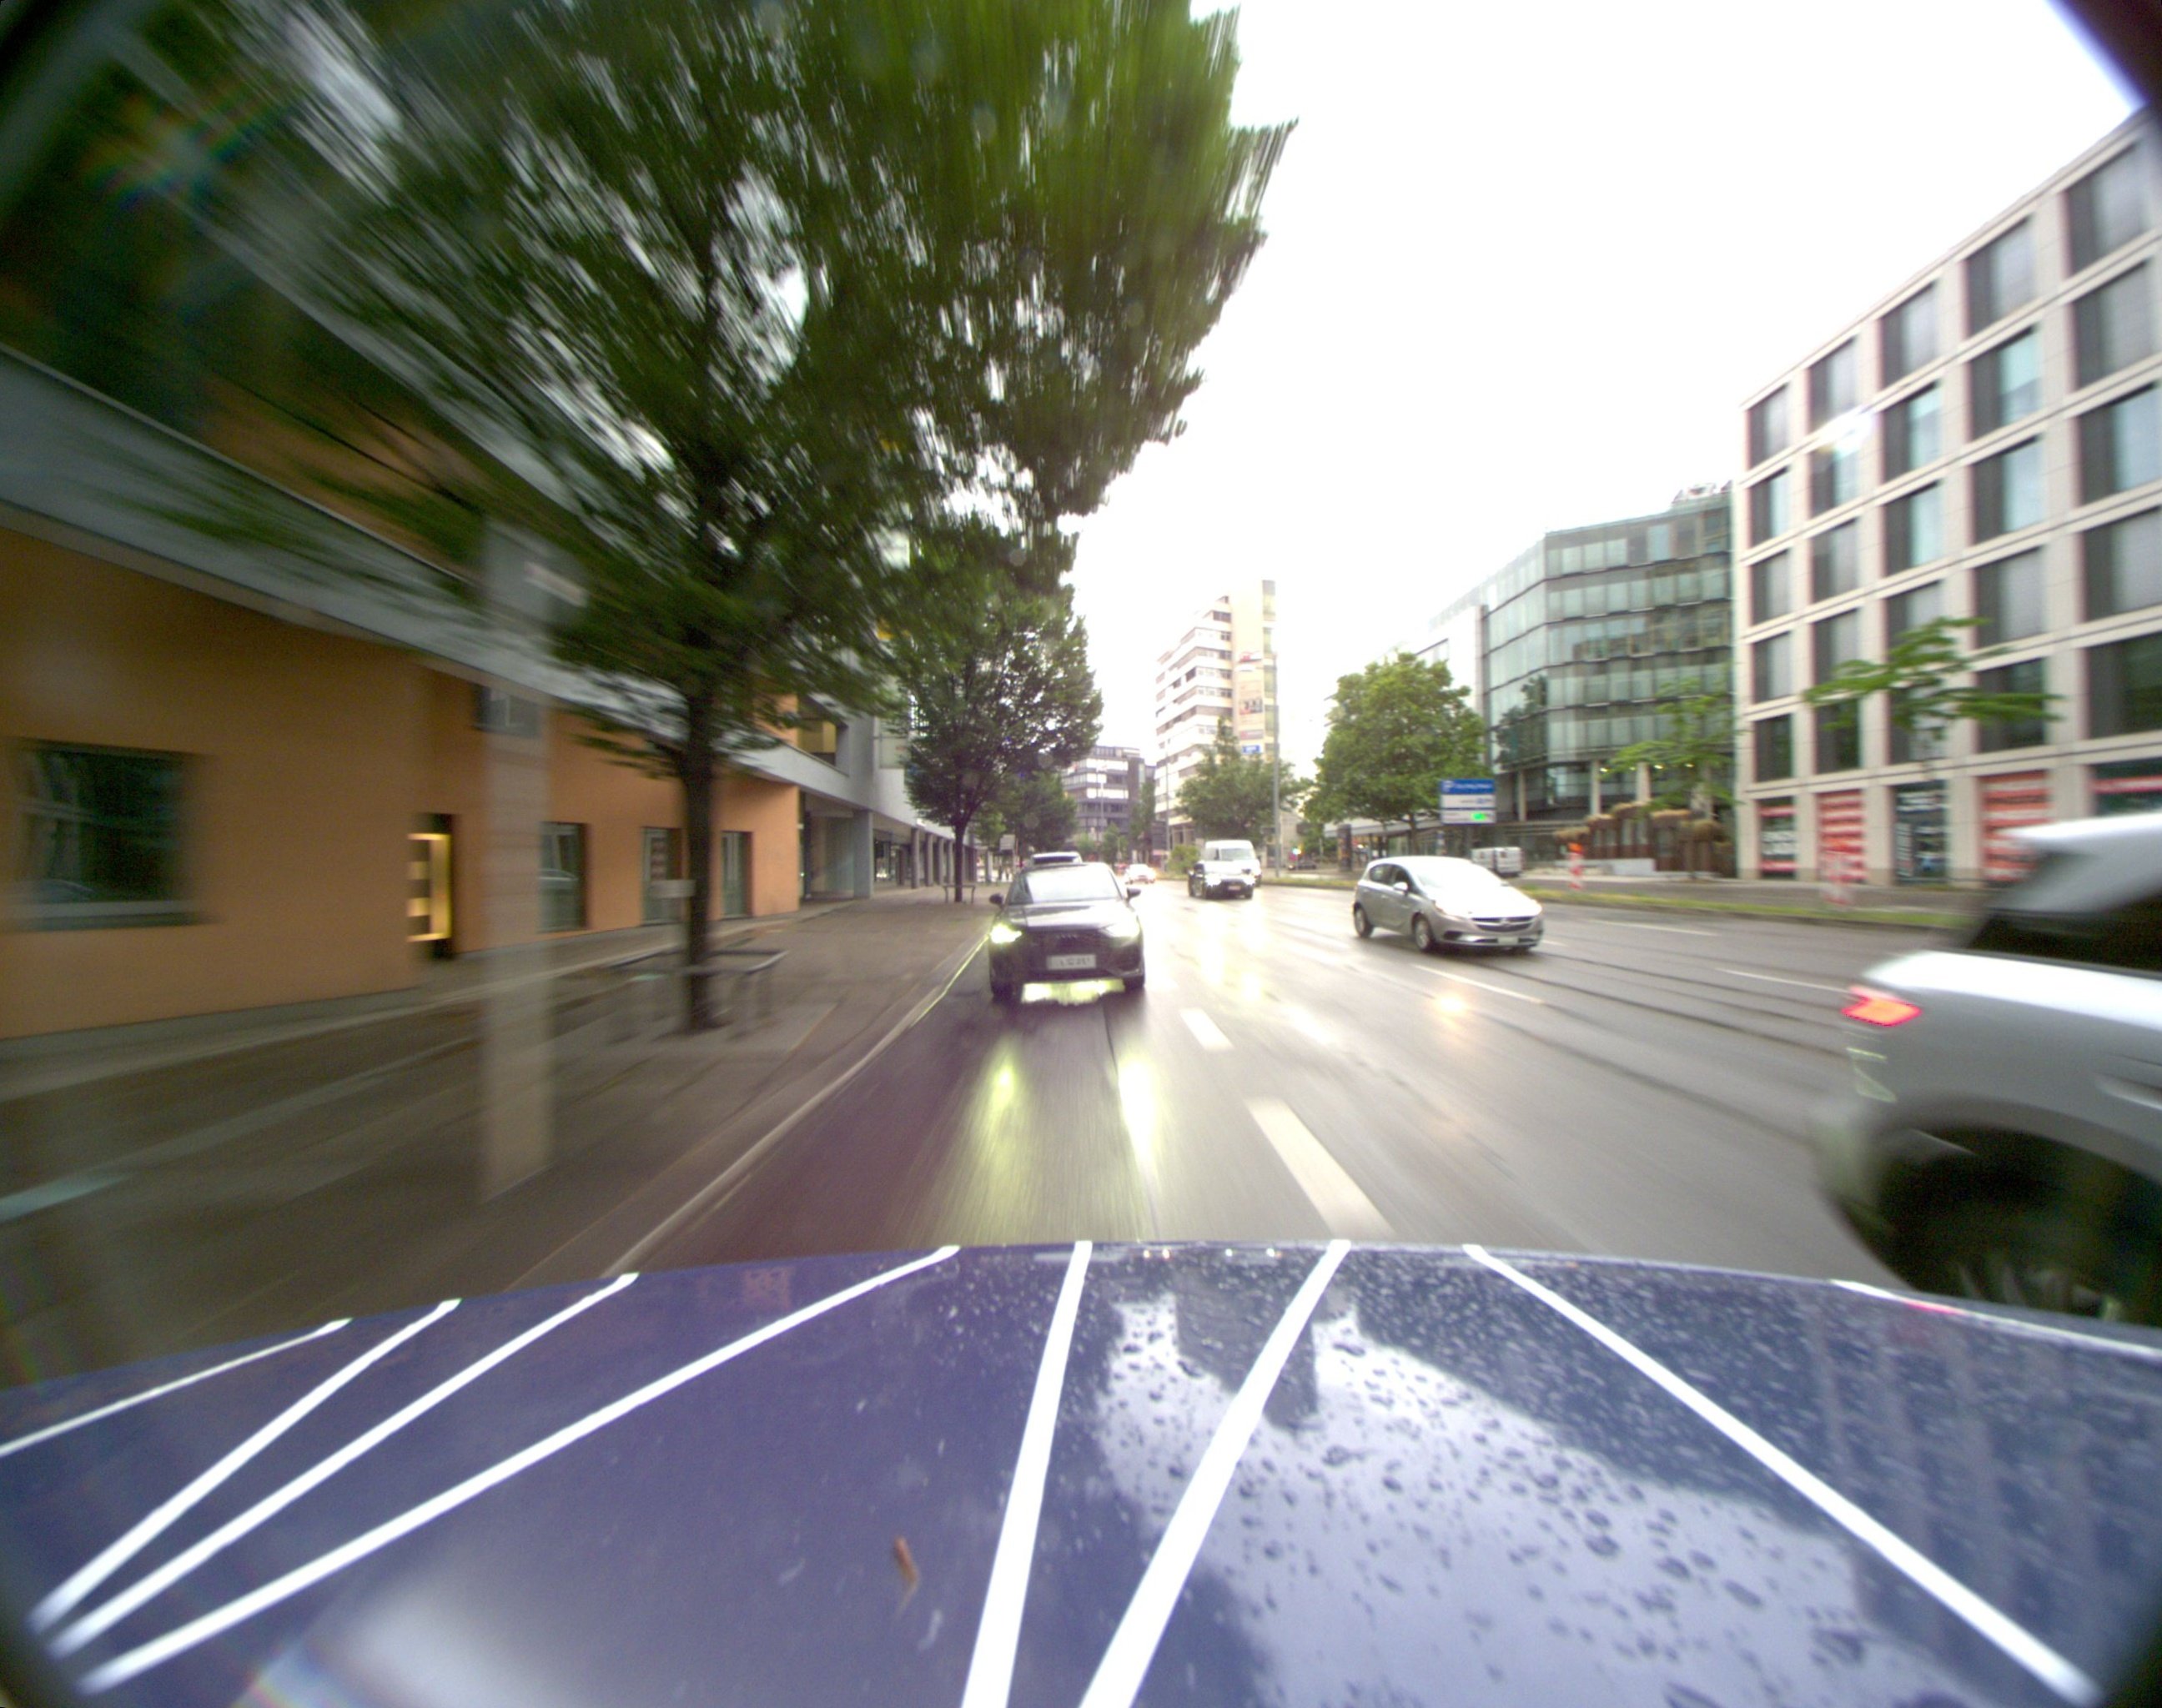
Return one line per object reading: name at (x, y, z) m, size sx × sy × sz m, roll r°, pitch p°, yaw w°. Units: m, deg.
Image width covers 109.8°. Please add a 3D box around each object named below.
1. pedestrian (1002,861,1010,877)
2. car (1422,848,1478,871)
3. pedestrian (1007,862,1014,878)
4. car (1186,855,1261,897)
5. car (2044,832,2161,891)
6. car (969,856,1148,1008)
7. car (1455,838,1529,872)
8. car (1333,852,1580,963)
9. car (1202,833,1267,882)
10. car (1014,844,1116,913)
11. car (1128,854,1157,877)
pedestrian at (-8.217, 1.645, 83.383) m, size 0.794 × 1.771 × 0.894 m, roll -2°, pitch -1°, yaw -5°
car at (26.624, 0.394, 54.924) m, size 1.802 × 1.520 × 4.285 m, roll -2°, pitch 1°, yaw -2°
pedestrian at (-7.896, 1.812, 84.922) m, size 0.641 × 1.771 × 0.880 m, roll -2°, pitch -1°, yaw -2°
car at (5.445, 0.783, 29.542) m, size 1.905 × 1.393 × 4.240 m, roll -2°, pitch 1°, yaw -2°
car at (26.816, 0.176, 18.271) m, size 1.702 × 1.415 × 4.373 m, roll 0°, pitch 0°, yaw -2°
car at (-0.062, 0.872, 10.476) m, size 1.801 × 1.543 × 4.389 m, roll -2°, pitch 1°, yaw 6°
car at (26.822, 0.033, 49.743) m, size 1.999 × 2.002 × 4.914 m, roll -2°, pitch 1°, yaw -2°
car at (5.954, 0.737, 12.690) m, size 1.775 × 1.470 × 4.125 m, roll -2°, pitch 1°, yaw -5°
car at (8.056, 0.139, 40.447) m, size 2.259 × 2.371 × 5.719 m, roll -2°, pitch 1°, yaw 0°
car at (-0.345, 0.672, 23.870) m, size 2.057 × 1.881 × 5.053 m, roll -2°, pitch 1°, yaw 12°
car at (4.433, 0.828, 55.154) m, size 1.784 × 1.499 × 4.000 m, roll -2°, pitch 1°, yaw 1°
